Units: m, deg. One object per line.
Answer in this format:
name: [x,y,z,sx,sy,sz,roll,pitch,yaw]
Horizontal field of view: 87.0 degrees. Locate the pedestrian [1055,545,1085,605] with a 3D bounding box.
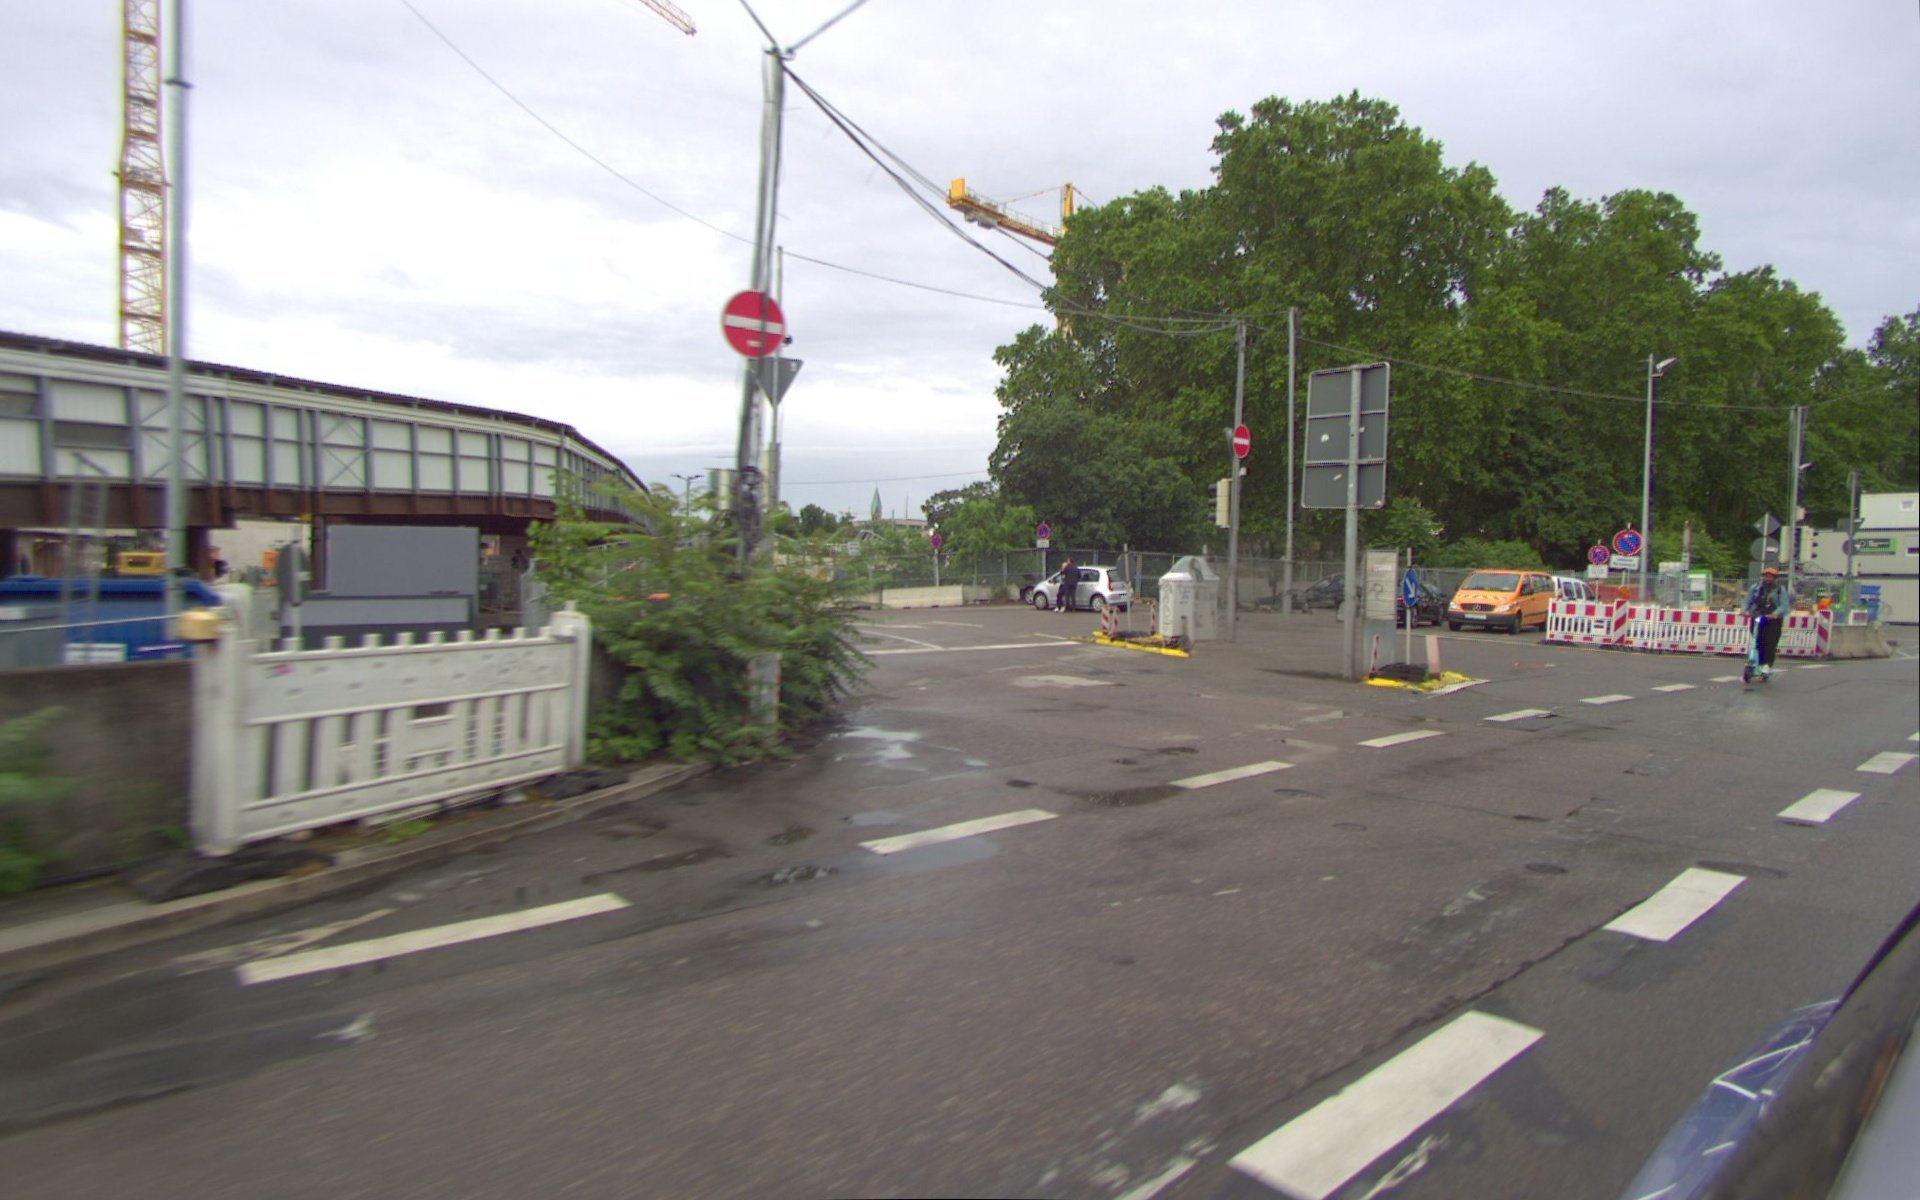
pedestrian: [3.497,-0.802,32.307,0.650,1.894,0.653,3,2,42]

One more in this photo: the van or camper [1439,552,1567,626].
van or camper: [16.674,-0.366,30.945,2.118,2.054,4.932,3,2,44]

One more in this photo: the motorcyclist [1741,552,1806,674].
motorcyclist: [14.150,0.208,17.599,0.577,2.061,0.725,0,2,-40]

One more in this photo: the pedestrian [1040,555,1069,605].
pedestrian: [3.063,-0.654,32.835,0.650,1.594,0.653,3,2,42]

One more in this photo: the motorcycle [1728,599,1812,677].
motorcycle: [14.043,0.621,17.523,2.123,1.244,0.729,0,2,-41]

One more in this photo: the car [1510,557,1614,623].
car: [20.829,-0.364,34.940,4.120,2.092,1.996,0,2,-43]

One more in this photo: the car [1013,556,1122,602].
car: [4.116,-0.828,38.970,3.717,1.657,1.969,3,2,43]

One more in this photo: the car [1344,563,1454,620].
car: [13.946,-0.291,32.043,1.993,1.657,4.127,3,2,42]

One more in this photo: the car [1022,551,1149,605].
car: [4.142,-0.752,33.560,3.717,1.657,1.969,3,2,43]
